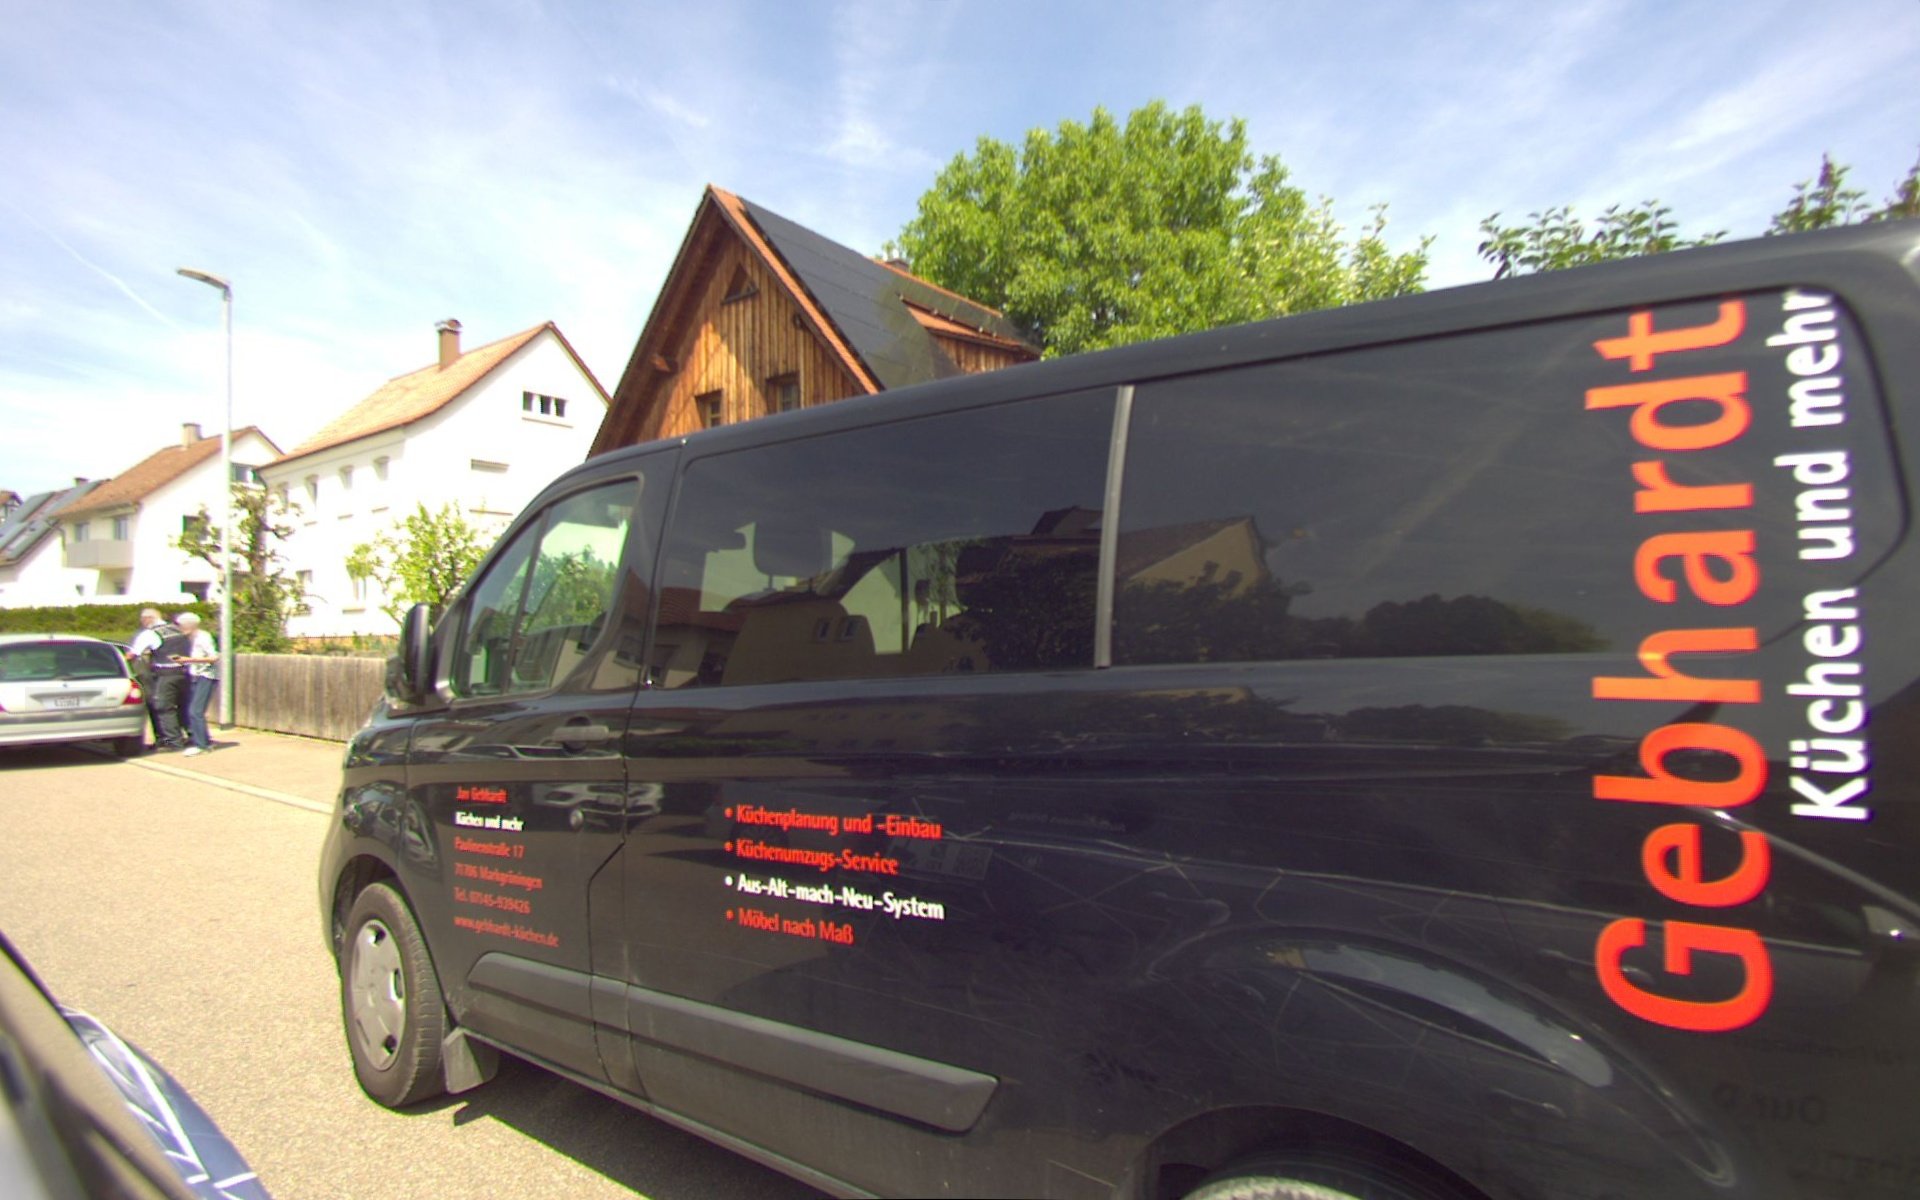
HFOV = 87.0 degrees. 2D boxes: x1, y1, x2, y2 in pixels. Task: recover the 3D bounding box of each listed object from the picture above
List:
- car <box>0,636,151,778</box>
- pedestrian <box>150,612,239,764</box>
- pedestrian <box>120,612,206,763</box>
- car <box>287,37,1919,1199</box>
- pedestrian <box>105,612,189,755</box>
[{"bbox_3d":[-10.929,1.146,11.739,3.258,1.453,1.568,-2,-2,36],"label":"car"},{"bbox_3d":[-8.771,0.976,11.601,0.598,1.655,0.632,-2,0,37],"label":"pedestrian"},{"bbox_3d":[-9.409,1.004,11.950,0.589,1.694,0.632,-2,0,37],"label":"pedestrian"},{"bbox_3d":[0.213,0.491,2.717,4.688,1.966,1.950,-2,-1,37],"label":"car"},{"bbox_3d":[-9.896,0.987,12.322,0.589,1.655,0.632,-2,0,37],"label":"pedestrian"}]
